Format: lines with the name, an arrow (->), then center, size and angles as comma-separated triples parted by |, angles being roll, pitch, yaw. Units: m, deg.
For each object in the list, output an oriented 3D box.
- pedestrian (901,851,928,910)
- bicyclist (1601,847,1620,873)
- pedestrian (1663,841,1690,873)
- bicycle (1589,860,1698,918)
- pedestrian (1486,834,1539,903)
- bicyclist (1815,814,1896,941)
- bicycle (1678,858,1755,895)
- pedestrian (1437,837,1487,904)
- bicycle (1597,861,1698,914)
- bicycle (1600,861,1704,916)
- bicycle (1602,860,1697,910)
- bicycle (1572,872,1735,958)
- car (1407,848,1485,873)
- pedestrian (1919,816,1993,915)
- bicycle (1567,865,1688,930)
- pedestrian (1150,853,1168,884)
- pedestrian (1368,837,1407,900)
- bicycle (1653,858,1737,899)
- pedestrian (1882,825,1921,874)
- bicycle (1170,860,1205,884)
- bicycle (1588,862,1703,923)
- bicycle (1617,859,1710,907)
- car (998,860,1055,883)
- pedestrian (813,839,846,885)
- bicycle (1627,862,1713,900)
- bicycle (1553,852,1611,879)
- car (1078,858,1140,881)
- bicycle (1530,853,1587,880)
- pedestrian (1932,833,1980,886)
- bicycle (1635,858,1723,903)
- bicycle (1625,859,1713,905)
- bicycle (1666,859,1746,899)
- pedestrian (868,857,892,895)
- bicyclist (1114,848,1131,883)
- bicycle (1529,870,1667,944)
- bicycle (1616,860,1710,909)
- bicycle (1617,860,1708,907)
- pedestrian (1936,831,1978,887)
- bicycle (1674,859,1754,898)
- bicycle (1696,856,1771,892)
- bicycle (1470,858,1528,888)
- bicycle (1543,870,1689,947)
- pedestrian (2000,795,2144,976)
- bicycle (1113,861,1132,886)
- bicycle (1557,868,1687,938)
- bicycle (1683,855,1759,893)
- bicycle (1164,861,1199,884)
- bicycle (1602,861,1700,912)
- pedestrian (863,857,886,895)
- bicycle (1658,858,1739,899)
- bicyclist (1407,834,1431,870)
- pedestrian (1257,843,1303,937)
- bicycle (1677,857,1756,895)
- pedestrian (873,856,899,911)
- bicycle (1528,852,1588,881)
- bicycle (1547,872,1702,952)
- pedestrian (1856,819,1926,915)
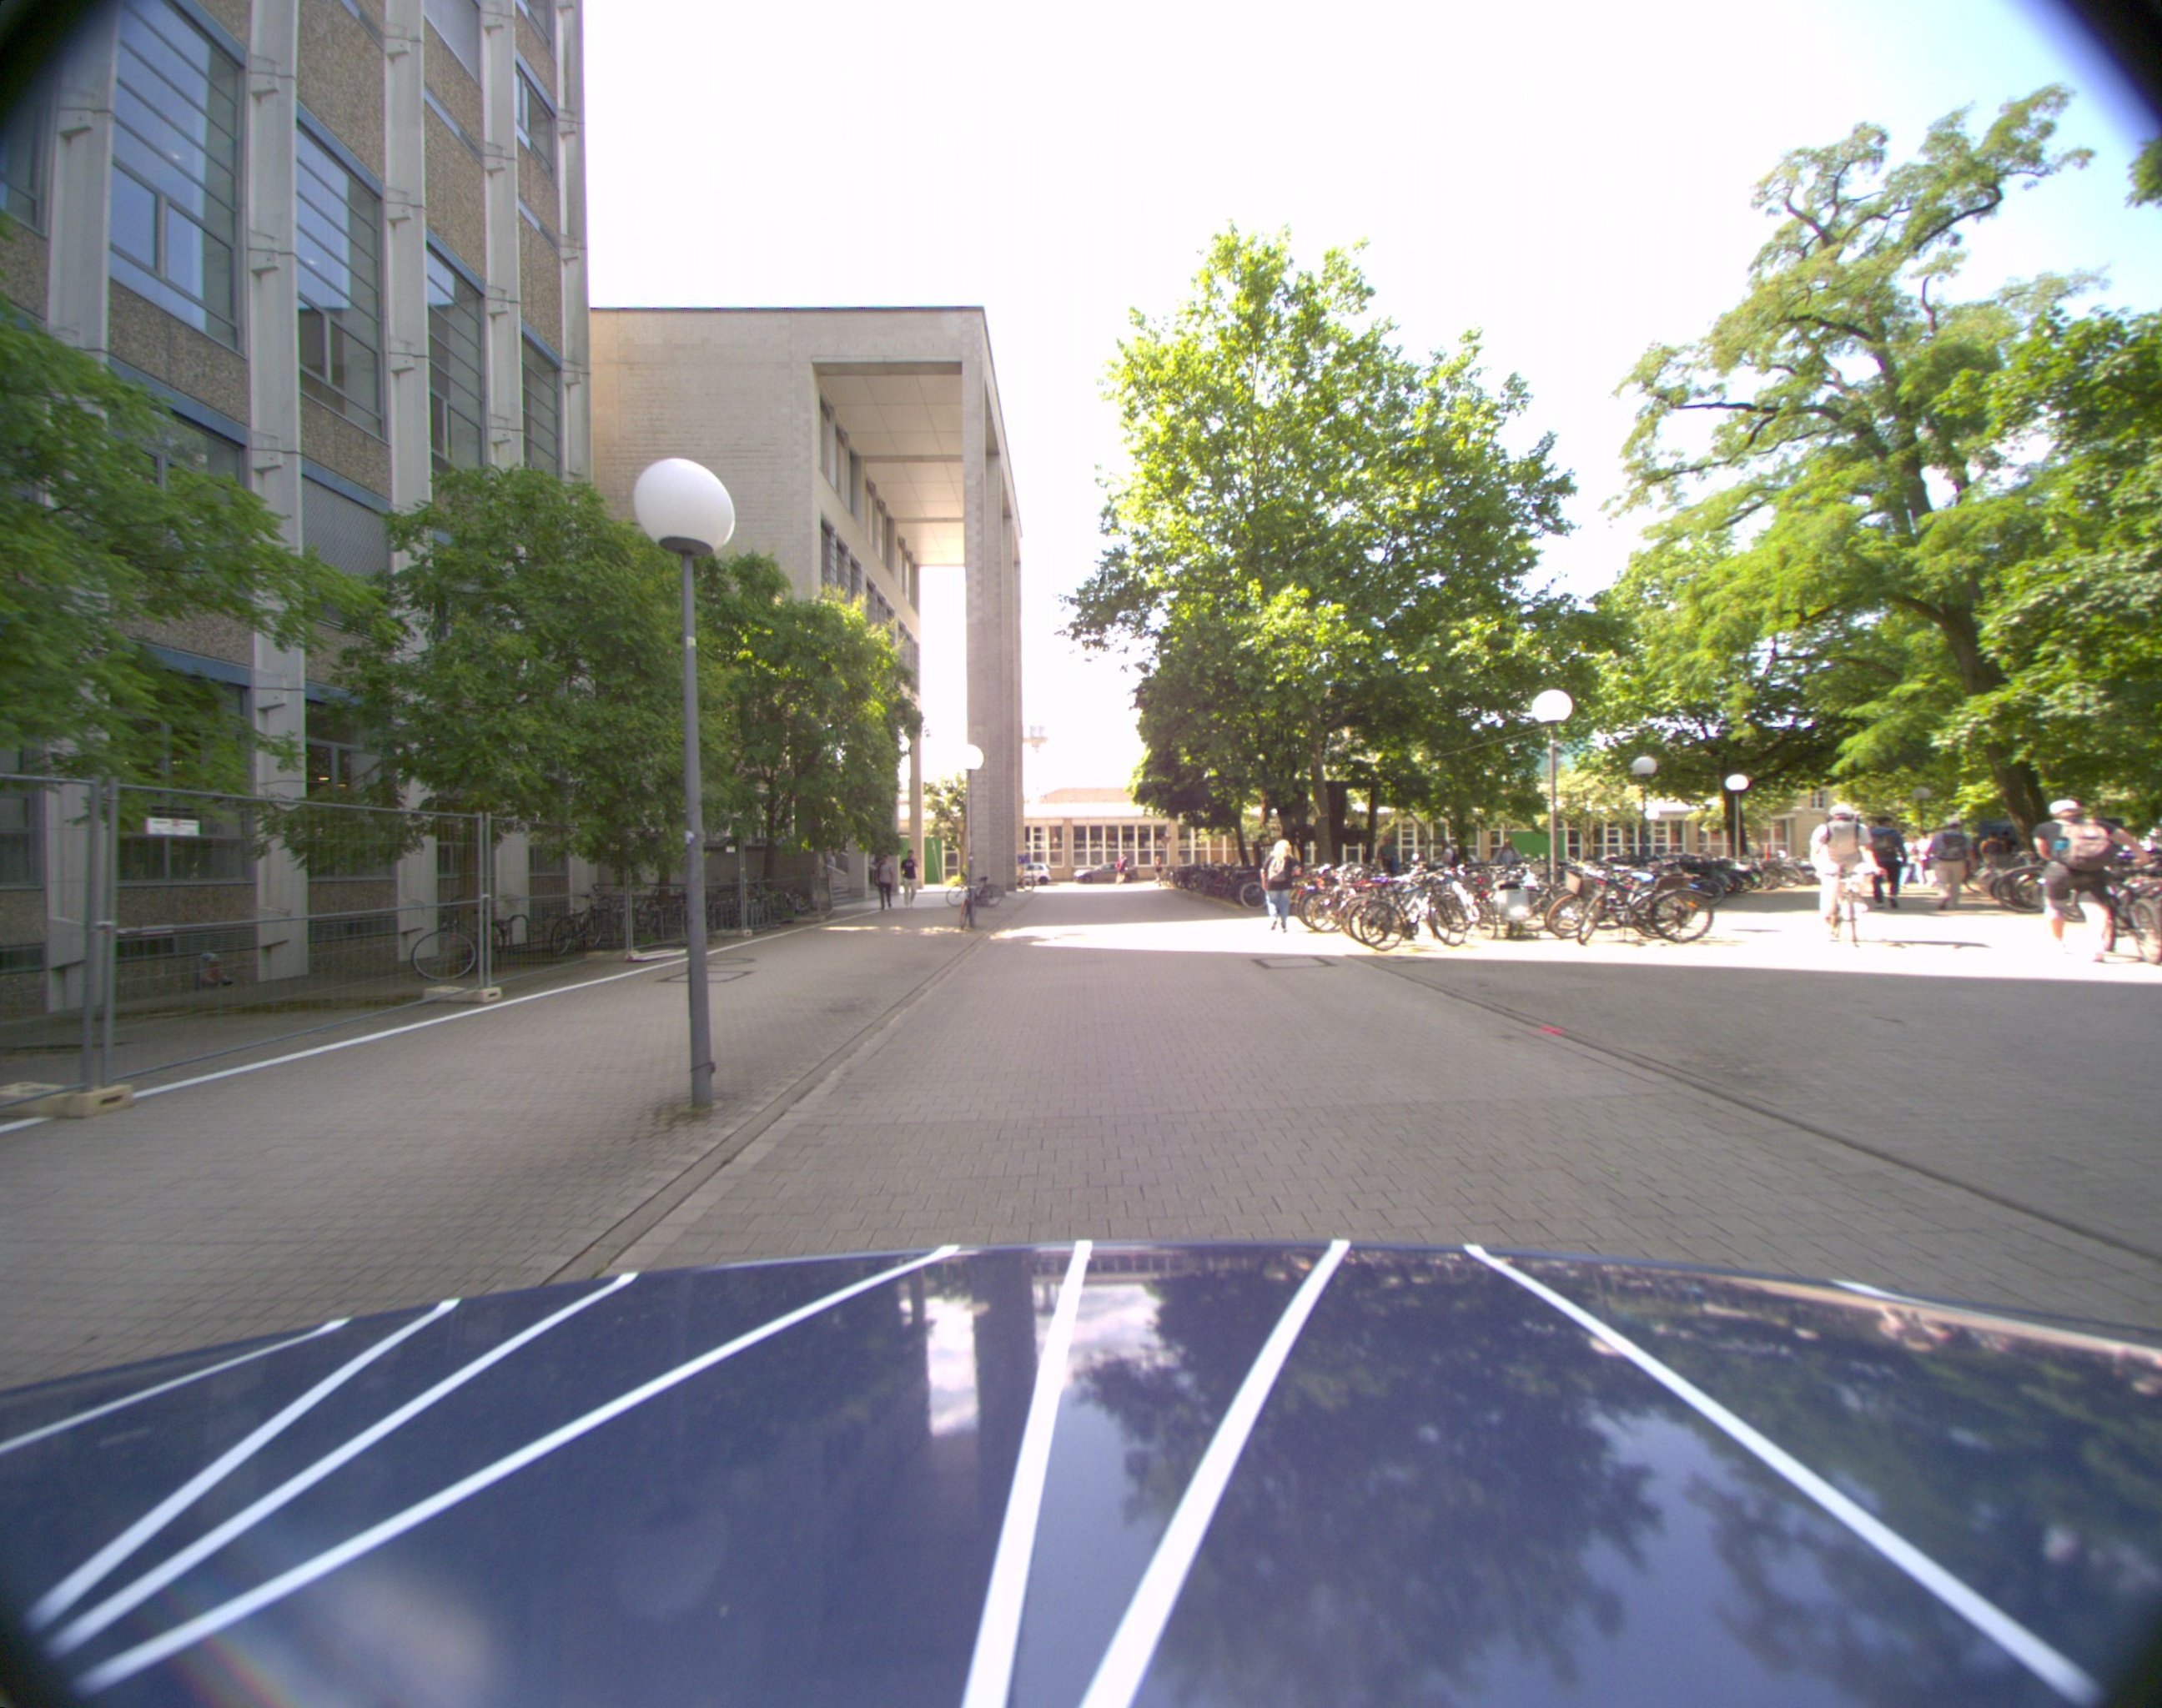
pedestrian -> -5.144, 0.799, 23.468 | 0.703, 1.792, 0.881 | -1, 0, -18
bicyclist -> 32.193, 0.356, 46.199 | 0.727, 1.526, 0.605 | 0, 2, 2
pedestrian -> 31.686, 0.140, 40.435 | 0.874, 1.674, 0.728 | -1, 0, -3
bicycle -> 11.107, 0.678, 15.065 | 1.695, 1.077, 0.475 | -1, 1, 35
pedestrian -> 10.863, 0.357, 19.121 | 0.771, 1.693, 0.905 | -2, 1, -37
bicyclist -> 9.936, 0.292, 9.772 | 0.594, 1.559, 0.723 | -1, 1, 35
bicycle -> 18.974, 0.661, 22.718 | 0.475, 1.077, 1.695 | -2, 1, -39
pedestrian -> 9.829, 0.418, 19.625 | 0.906, 1.693, 0.770 | -2, 1, 5
bicycle -> 12.070, 0.699, 16.251 | 1.695, 1.077, 0.475 | -1, 1, 35
bicycle -> 11.839, 0.706, 15.819 | 1.695, 1.077, 0.475 | -1, 1, 35
bicycle -> 12.827, 0.694, 17.203 | 1.695, 1.077, 0.475 | -1, 1, 35
bicycle -> 7.683, 0.816, 10.252 | 1.697, 1.104, 0.474 | -2, 1, 12
car -> 25.222, 0.422, 52.614 | 4.536, 1.608, 1.837 | -1, 1, -2
pedestrian -> 16.490, 0.210, 14.341 | 0.768, 1.793, 0.986 | -1, 1, 41
bicycle -> 9.661, 0.752, 13.467 | 1.695, 1.077, 0.475 | -1, 1, 41
pedestrian -> 4.099, 0.768, 39.978 | 0.881, 1.645, 0.703 | -1, 0, 12
pedestrian -> 9.041, 0.418, 22.422 | 0.771, 1.796, 0.708 | -2, 1, -33
bicycle -> 16.687, 0.654, 20.678 | 0.475, 1.077, 1.695 | -2, 1, -39
pedestrian -> 28.468, -0.164, 26.365 | 0.908, 1.670, 0.768 | -2, 1, -33
bicycle -> 5.127, 0.876, 36.487 | 1.627, 1.101, 0.497 | -1, -1, 12
bicycle -> 10.536, 0.704, 14.221 | 1.695, 1.077, 0.475 | -1, 1, 38
bicycle -> 13.683, 0.682, 17.900 | 1.695, 1.077, 0.475 | -1, 1, 35
car -> -3.709, 1.205, 52.436 | 3.776, 1.468, 1.653 | -1, 2, 0
pedestrian -> -10.056, 0.316, 30.389 | 0.959, 1.803, 0.770 | -2, 1, 8
bicycle -> 15.688, 0.703, 20.277 | 0.453, 0.956, 1.735 | -2, 1, -39
bicycle -> 21.344, 0.504, 32.397 | 0.503, 1.101, 2.025 | -2, 1, -33
car -> 1.927, 1.061, 52.605 | 4.209, 1.468, 1.653 | -1, 2, 0
bicycle -> 20.208, 0.534, 32.188 | 0.503, 1.101, 2.001 | -2, 1, -30
pedestrian -> 29.965, 0.190, 26.021 | 0.908, 1.764, 0.769 | -2, 1, -18
bicycle -> 15.079, 0.665, 19.178 | 1.695, 1.077, 0.475 | -1, 1, 43
bicycle -> 14.449, 0.674, 18.718 | 1.695, 1.077, 0.475 | -1, 1, 35
bicycle -> 17.749, 0.698, 21.613 | 0.475, 1.077, 1.695 | -2, 1, -39
pedestrian -> -8.685, 0.931, 32.859 | 0.809, 1.608, 0.739 | -1, 1, -30
bicyclist -> 2.080, 0.572, 38.178 | 0.773, 1.706, 0.911 | 0, 2, 8
bicycle -> 7.987, 0.814, 11.806 | 1.696, 1.077, 0.475 | -1, 1, 20
bicycle -> 13.355, 0.690, 17.487 | 1.695, 1.077, 0.475 | -1, 1, 35
bicycle -> 13.972, 0.705, 18.305 | 1.695, 1.077, 0.475 | -1, 1, 35
pedestrian -> 28.137, 0.149, 24.412 | 0.908, 1.764, 0.768 | -2, 1, -33
bicycle -> 18.306, 0.688, 21.999 | 0.475, 1.077, 1.695 | -2, 1, -39
bicycle -> 20.357, 0.627, 23.736 | 0.475, 1.077, 1.695 | -2, 1, -39
bicycle -> 15.885, 0.707, 28.894 | 0.503, 1.101, 1.902 | -2, 1, -33
bicycle -> 7.912, 0.803, 11.297 | 1.696, 1.077, 0.475 | -1, 1, 20
pedestrian -> 10.679, 0.313, 8.231 | 0.612, 1.825, 1.052 | -1, 1, 31
bicycle -> 2.086, 0.963, 38.209 | 0.773, 1.144, 2.109 | 0, 1, 8
bicycle -> 8.921, 0.776, 12.566 | 1.695, 1.077, 0.475 | -1, 1, 41
bicycle -> 19.383, 0.594, 23.032 | 0.475, 1.077, 1.695 | -2, 1, -39
bicycle -> 4.912, 0.899, 37.265 | 1.628, 1.101, 0.497 | -1, -1, 0
bicycle -> 12.560, 0.714, 16.804 | 1.695, 1.077, 0.475 | -1, 1, 35
pedestrian -> -9.185, 0.971, 33.841 | 0.899, 1.660, 0.674 | -1, 0, -9
bicycle -> 17.257, 0.672, 21.272 | 0.475, 1.077, 1.695 | -2, 1, -39
bicyclist -> 17.954, -0.107, 40.357 | 0.869, 1.880, 0.803 | -1, -1, -37
pedestrian -> 3.671, 0.648, 13.980 | 0.768, 1.670, 0.908 | -1, 0, 16
bicycle -> 18.662, 0.635, 22.346 | 0.475, 1.077, 1.695 | -2, 1, -39
pedestrian -> -5.991, 0.885, 23.297 | 0.703, 1.645, 0.881 | -1, 0, -18
bicycle -> 18.723, 0.482, 29.867 | 0.503, 1.101, 2.001 | -2, 1, -30
bicycle -> 7.663, 0.822, 10.779 | 1.721, 1.077, 0.474 | -2, 1, 15
pedestrian -> 15.856, 0.239, 14.902 | 0.832, 1.804, 0.884 | -1, 1, 41
